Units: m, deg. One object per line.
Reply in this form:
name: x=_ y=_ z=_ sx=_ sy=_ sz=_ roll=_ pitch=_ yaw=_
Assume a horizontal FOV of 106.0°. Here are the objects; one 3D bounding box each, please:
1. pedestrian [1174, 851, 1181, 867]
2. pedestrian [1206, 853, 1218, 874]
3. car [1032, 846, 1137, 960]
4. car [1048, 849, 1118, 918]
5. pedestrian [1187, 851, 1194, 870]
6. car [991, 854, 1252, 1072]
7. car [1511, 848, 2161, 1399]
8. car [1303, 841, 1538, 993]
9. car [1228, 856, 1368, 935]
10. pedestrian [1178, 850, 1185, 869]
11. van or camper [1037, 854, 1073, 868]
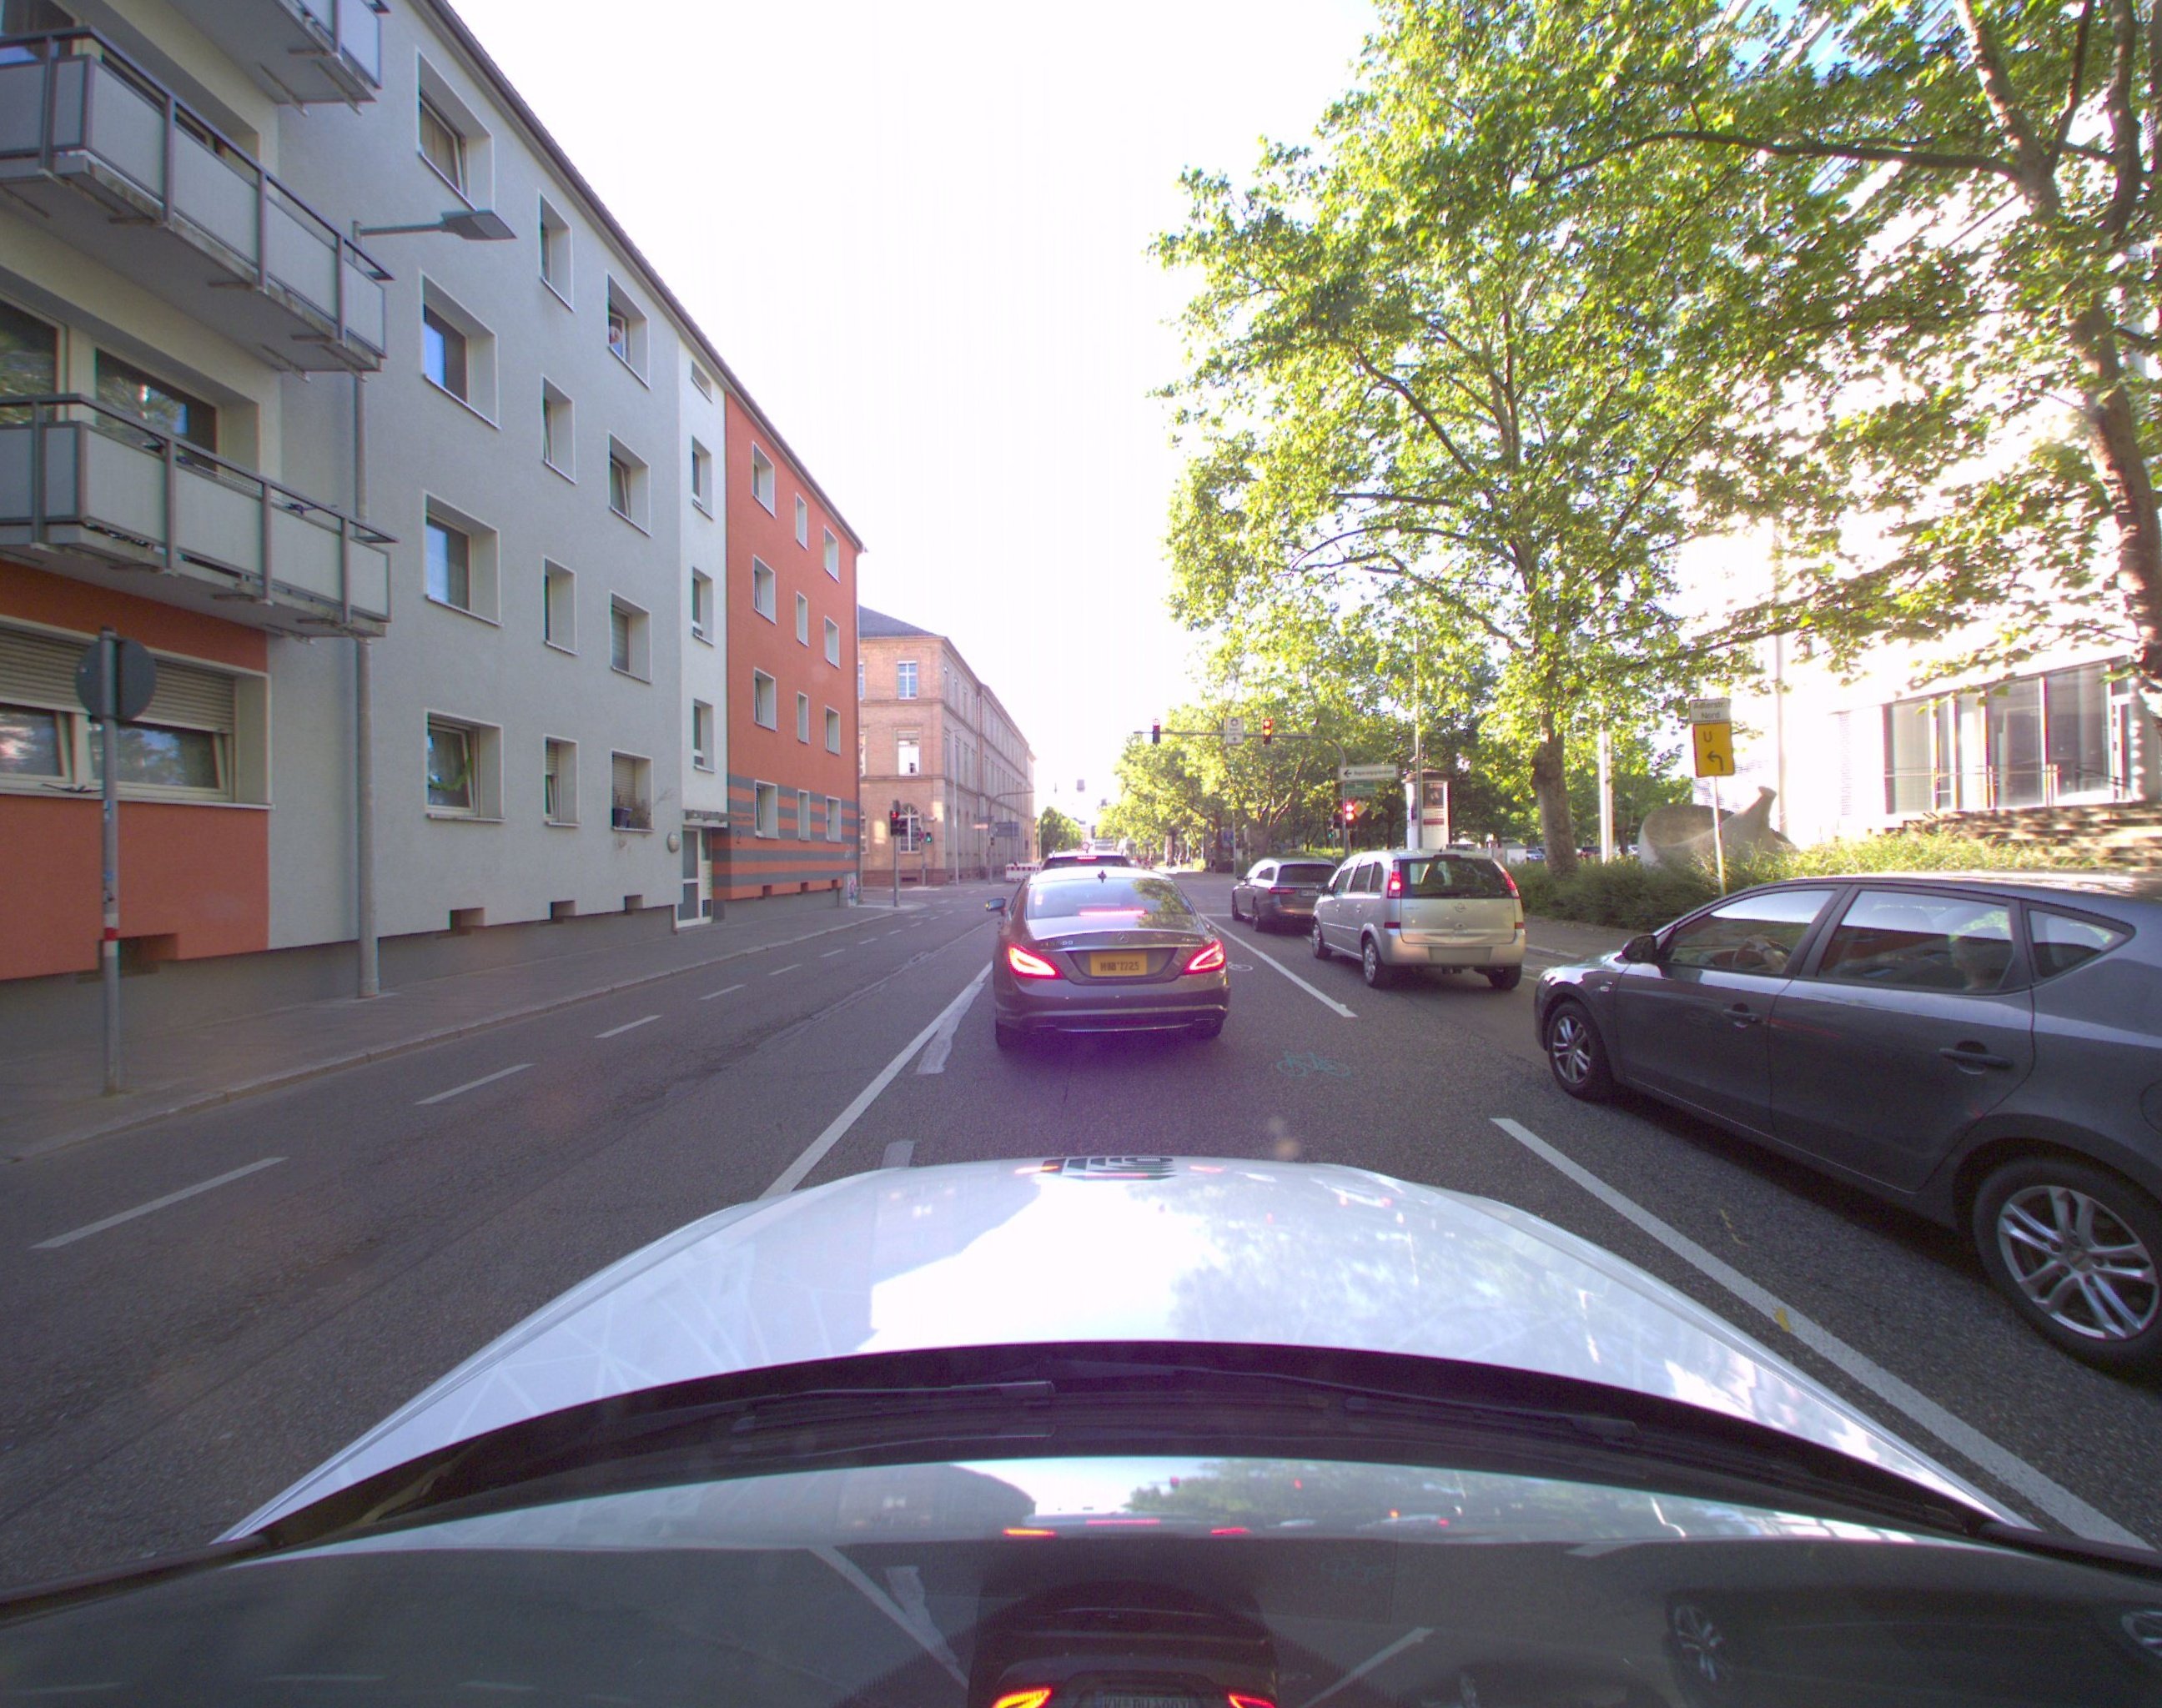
pedestrian: x=11.091 y=0.613 z=93.595 sx=0.609 sy=1.821 sz=0.933 roll=-1 pitch=0 yaw=2
pedestrian: x=10.048 y=0.722 z=62.462 sx=0.827 sy=1.606 sz=0.652 roll=-1 pitch=0 yaw=1
car: x=0.050 y=0.713 z=13.811 sx=1.513 sy=1.647 sz=3.879 roll=-1 pitch=0 yaw=0
car: x=0.122 y=0.771 z=23.357 sx=1.813 sy=1.762 sz=4.002 roll=-1 pitch=0 yaw=2
pedestrian: x=10.799 y=0.630 z=80.372 sx=0.601 sy=1.821 sz=0.652 roll=-1 pitch=0 yaw=1
car: x=0.100 y=0.743 z=7.778 sx=1.801 sy=1.456 sz=4.342 roll=-1 pitch=0 yaw=-5
car: x=3.784 y=0.734 z=3.724 sx=1.638 sy=1.482 sz=3.978 roll=0 pitch=0 yaw=2
car: x=4.182 y=0.676 z=10.703 sx=1.694 sy=1.603 sz=3.863 roll=1 pitch=0 yaw=4
car: x=4.476 y=0.775 z=17.543 sx=1.905 sy=1.464 sz=4.671 roll=0 pitch=0 yaw=2
pedestrian: x=9.901 y=0.534 z=80.570 sx=0.601 sy=1.821 sz=0.652 roll=-1 pitch=0 yaw=1
van or camper: x=-3.576 y=0.957 z=113.435 sx=4.537 sy=1.941 sz=2.012 roll=-1 pitch=0 yaw=25
